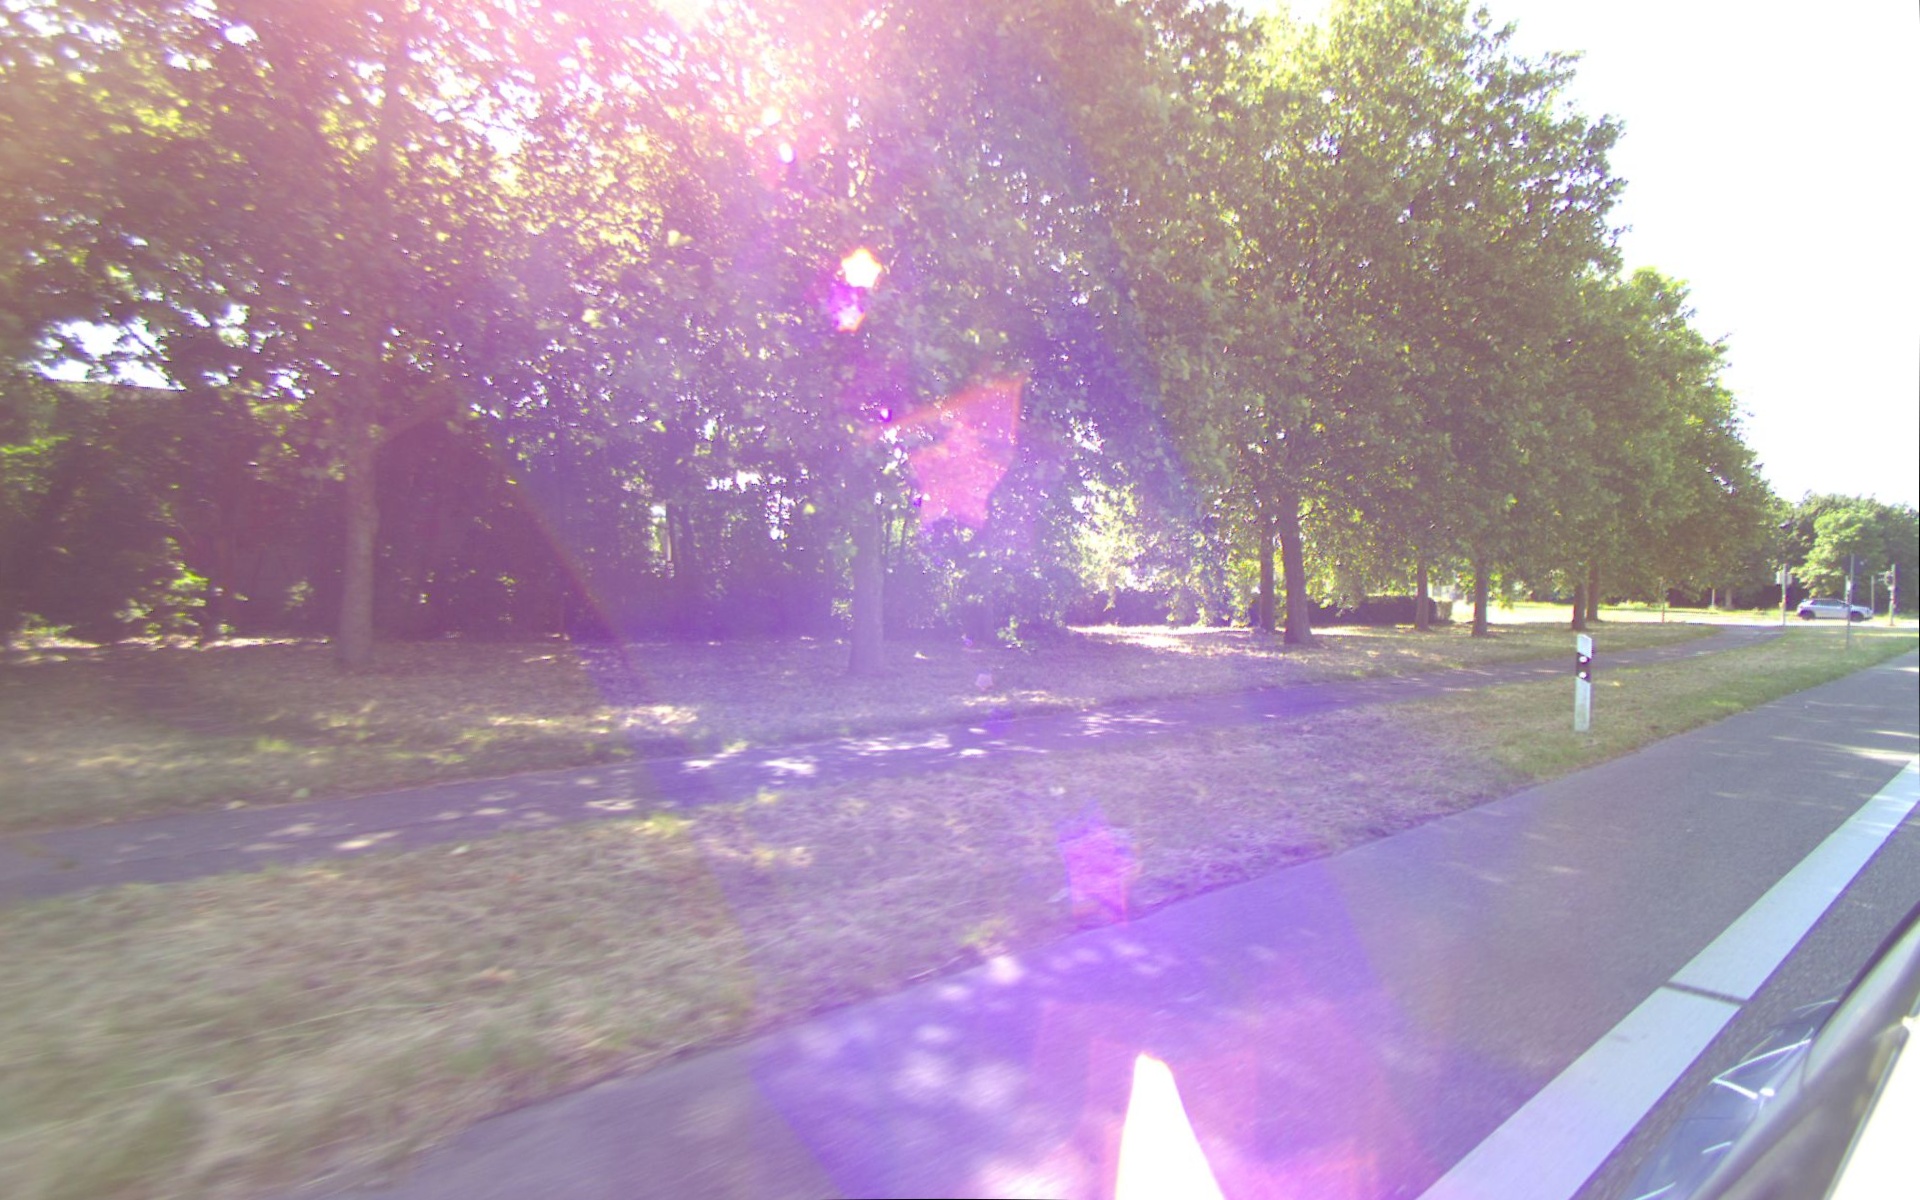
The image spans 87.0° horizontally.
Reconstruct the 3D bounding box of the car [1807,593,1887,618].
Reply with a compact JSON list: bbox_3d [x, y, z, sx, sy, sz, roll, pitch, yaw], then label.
[{"bbox_3d":[61.496,0.382,70.209,1.713,1.583,4.057,0,2,-43],"label":"car"}]
